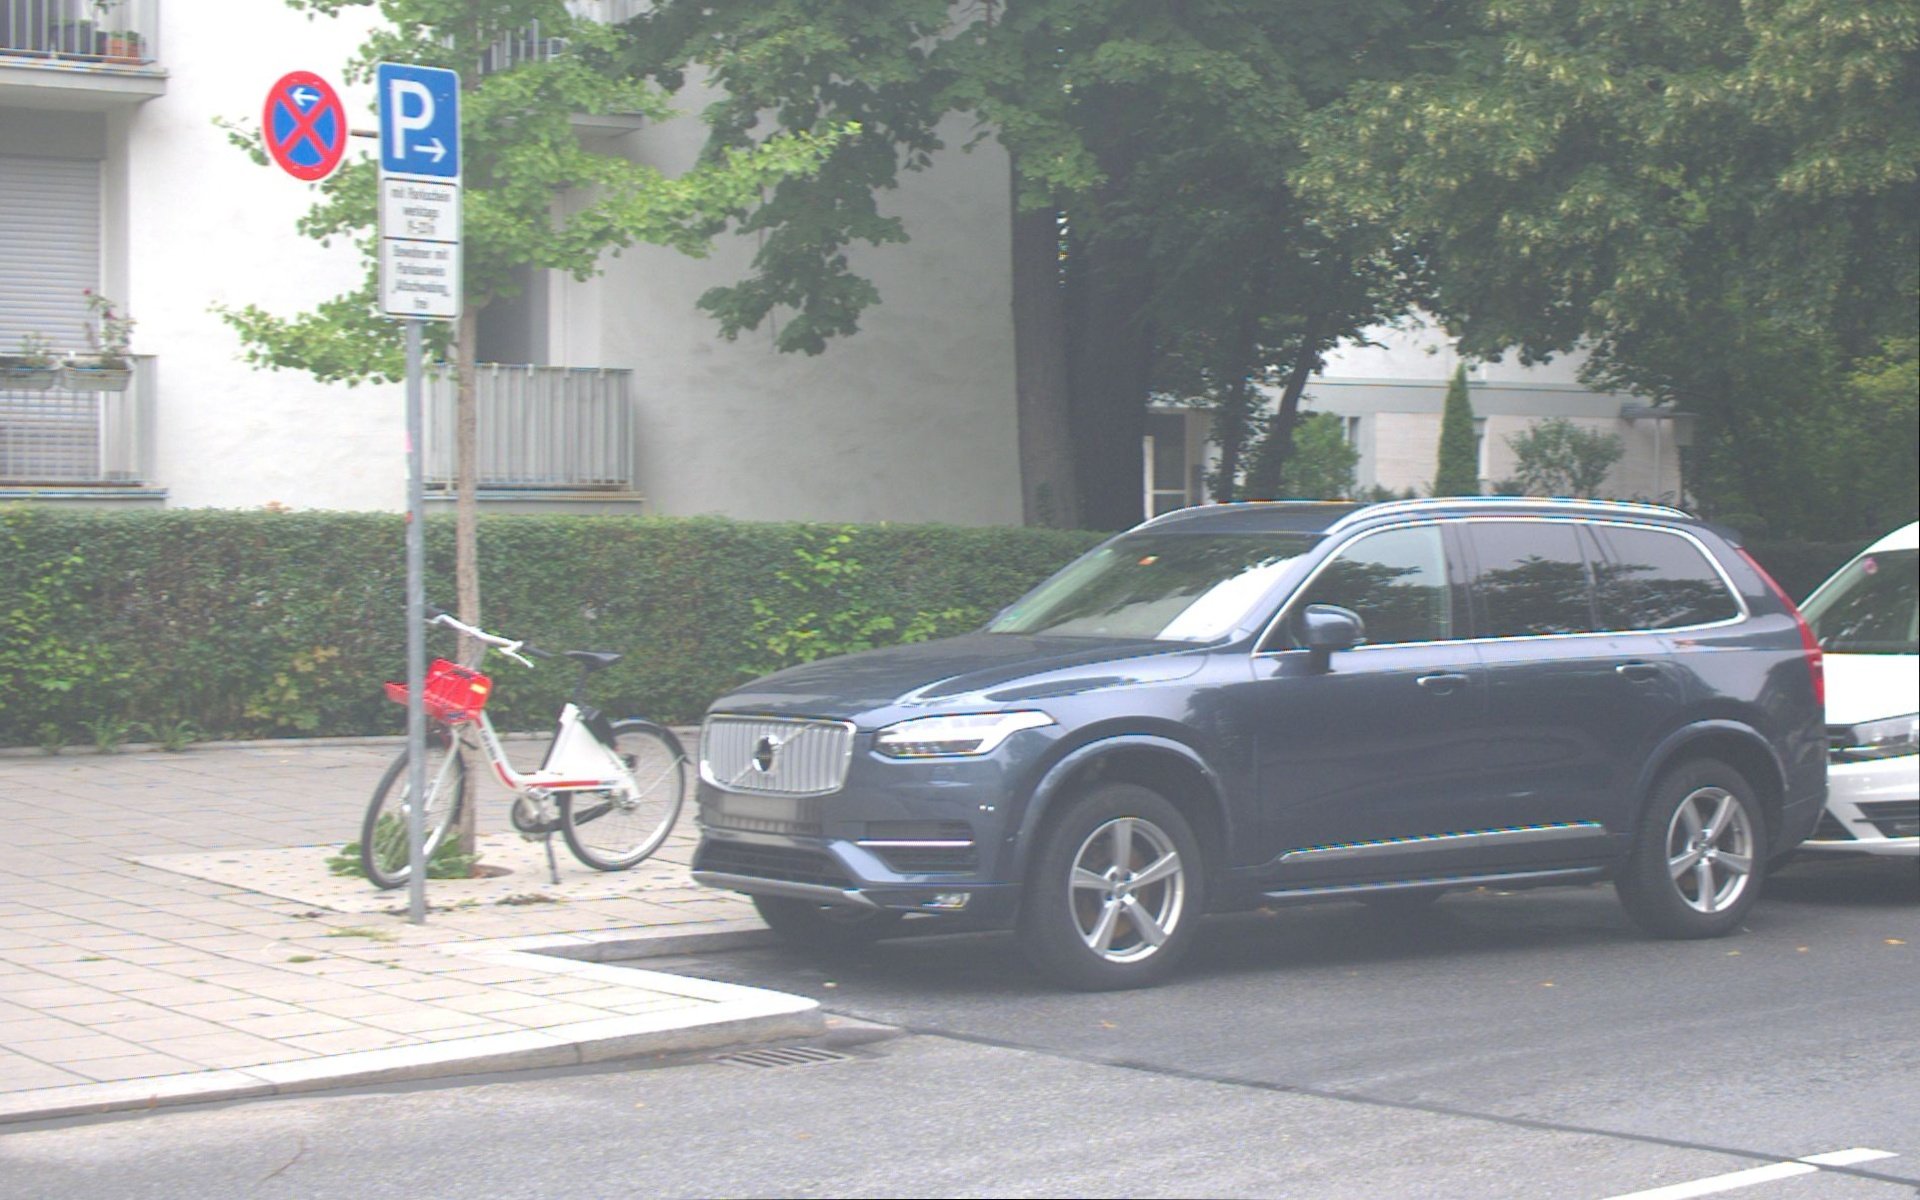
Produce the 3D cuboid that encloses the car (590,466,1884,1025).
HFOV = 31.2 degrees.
[{"bbox_3d":[1.196,0.444,13.264,4.898,1.785,2.000,0,1,-37],"label":"car"}]

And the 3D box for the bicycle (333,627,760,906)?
[{"bbox_3d":[-1.693,0.660,14.304,1.825,1.045,0.491,-1,2,-43],"label":"bicycle"}]

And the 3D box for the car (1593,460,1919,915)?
[{"bbox_3d":[5.382,0.347,16.616,4.834,1.912,1.835,0,1,-38],"label":"car"}]
